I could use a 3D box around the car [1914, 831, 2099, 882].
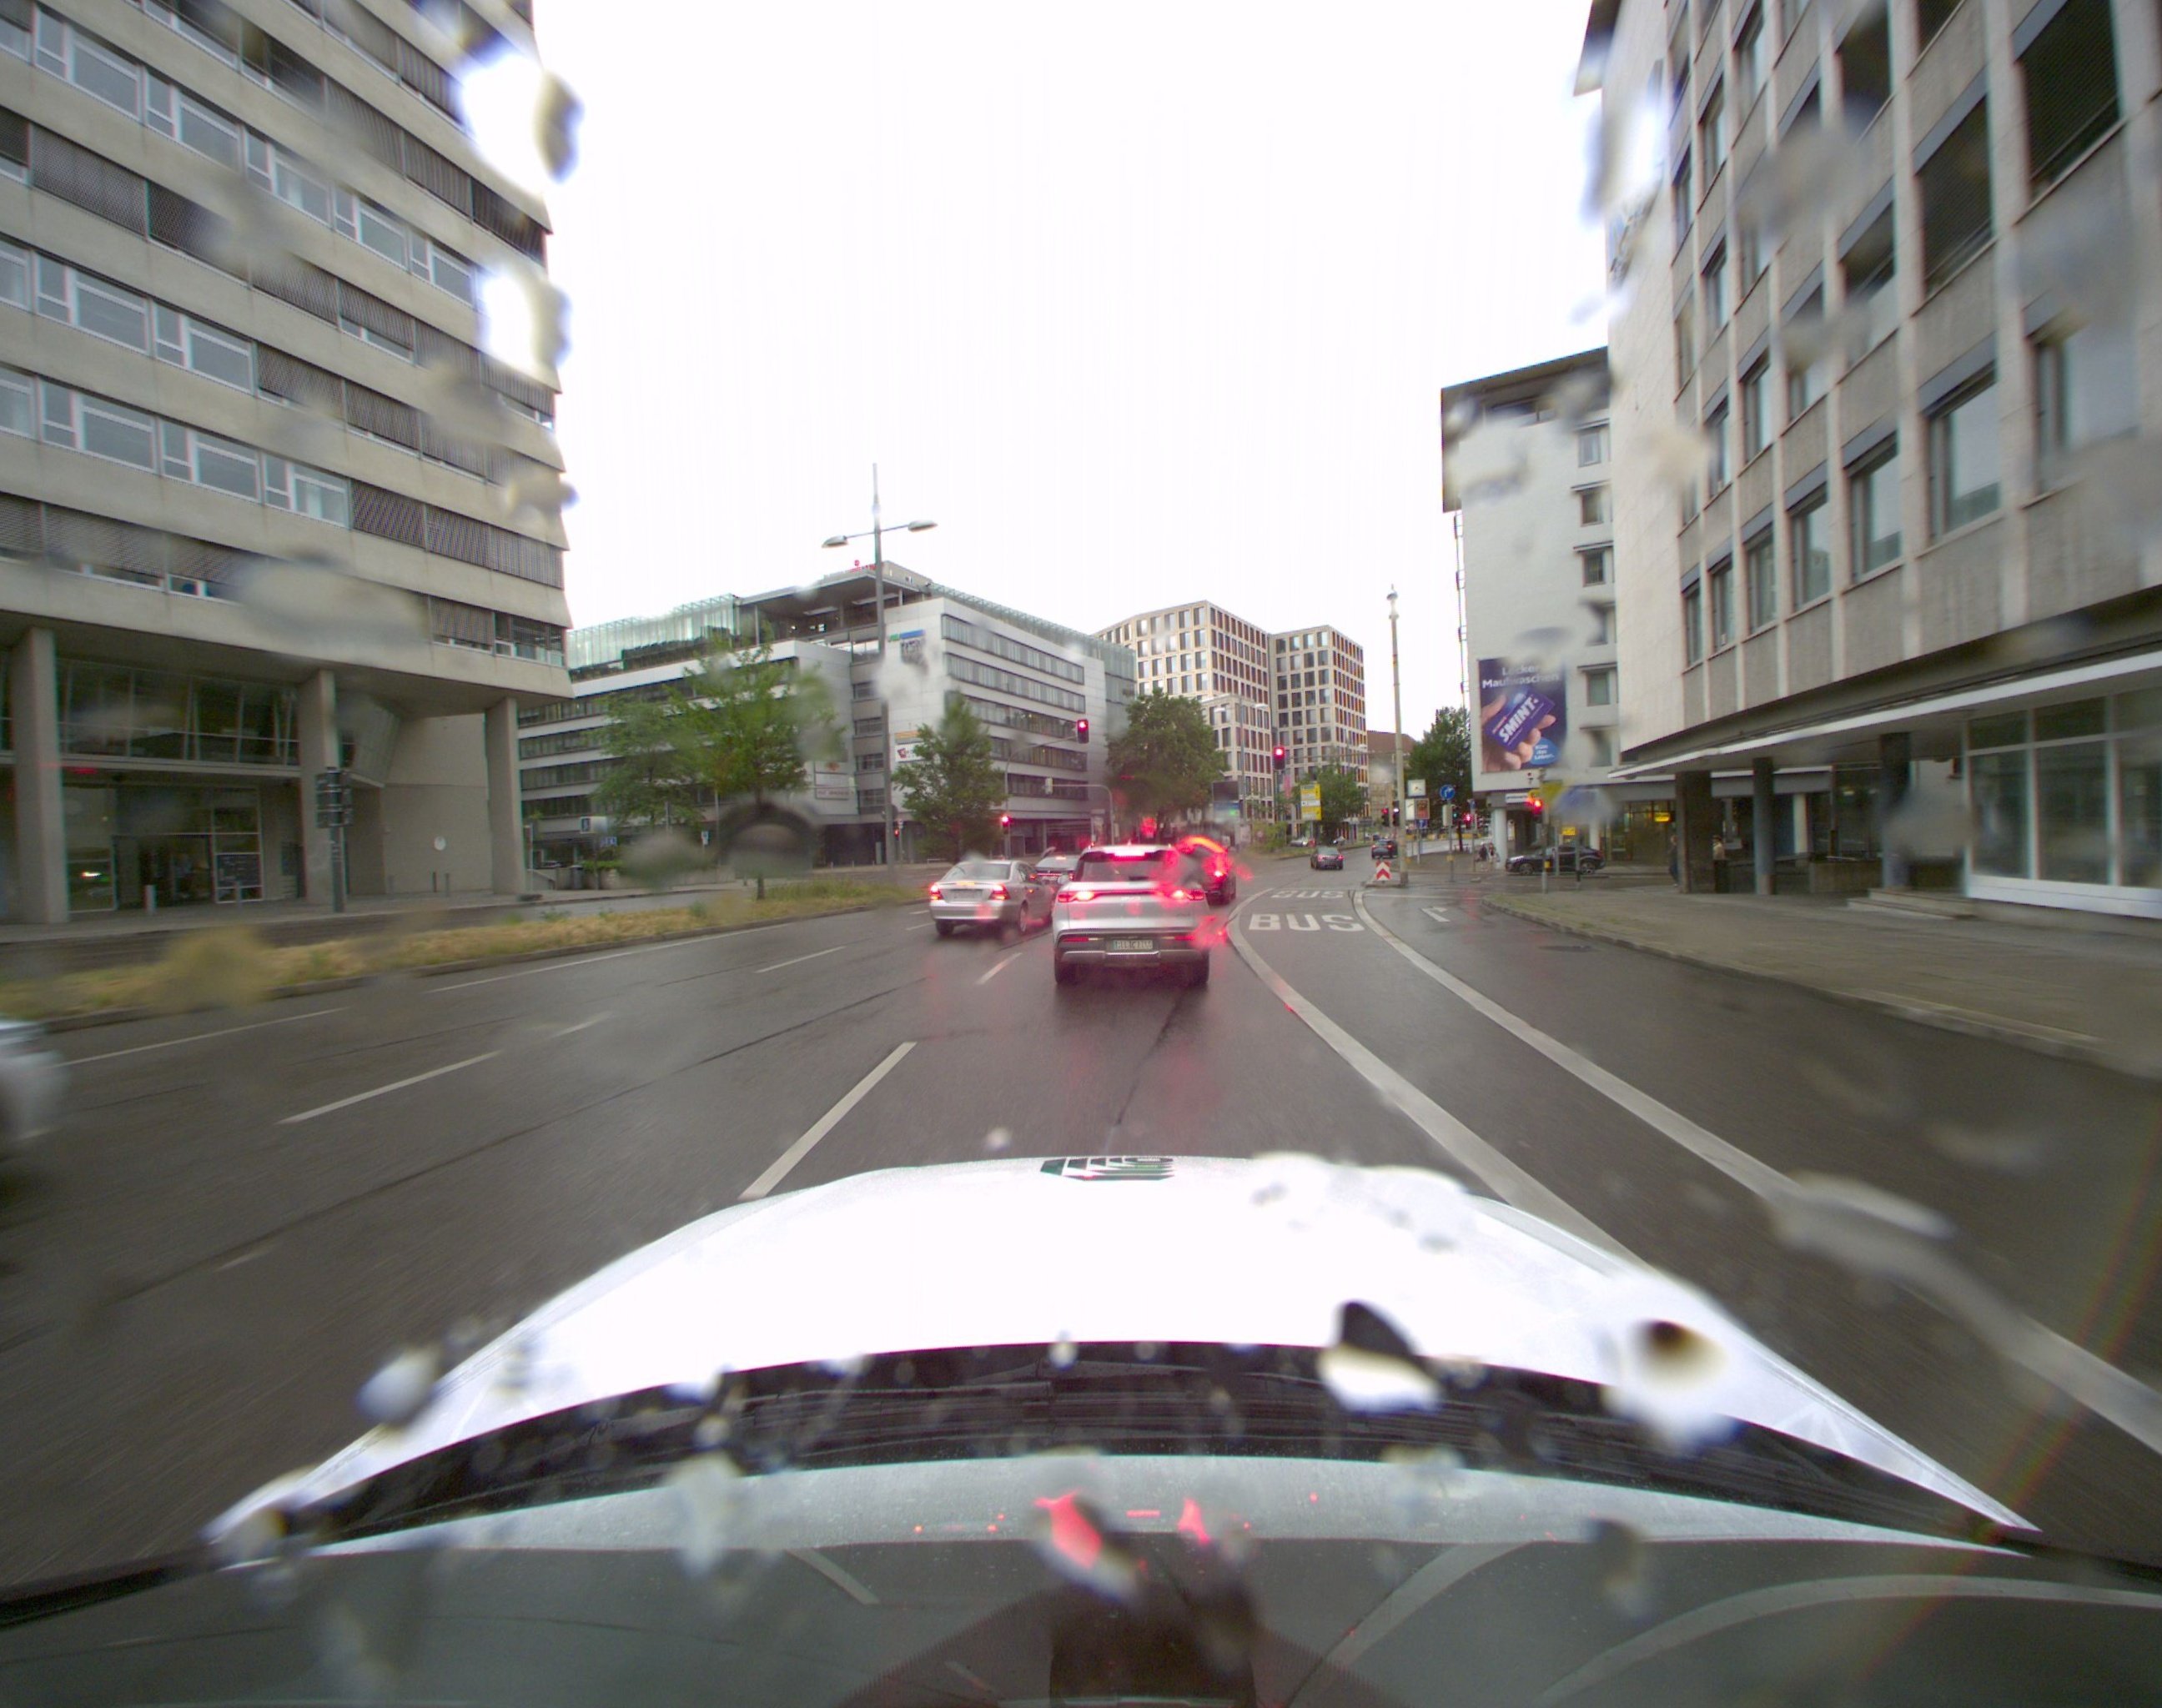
[{"bbox_3d":[34.276,0.073,30.264,4.498,1.750,2.001,-1,0,2],"label":"car"}]

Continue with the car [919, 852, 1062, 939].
[{"bbox_3d":[-1.684,0.754,16.690,1.671,1.486,4.210,-1,0,11],"label":"car"}]

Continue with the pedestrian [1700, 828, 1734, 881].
[{"bbox_3d":[22.115,0.020,28.328,0.721,1.798,0.743,-1,0,21],"label":"pedestrian"}]

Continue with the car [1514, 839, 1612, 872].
[{"bbox_3d":[23.649,0.071,40.125,3.951,1.552,2.011,0,1,24],"label":"car"}]

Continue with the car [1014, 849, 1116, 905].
[{"bbox_3d":[-0.392,0.657,24.928,1.940,1.530,4.018,-1,0,17],"label":"car"}]

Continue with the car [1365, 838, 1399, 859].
[{"bbox_3d":[25.896,-0.490,70.054,2.027,1.765,4.384,0,1,30],"label":"car"}]

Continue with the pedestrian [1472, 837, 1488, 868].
[{"bbox_3d":[22.054,-0.061,44.999,0.721,1.668,0.694,-1,-1,21],"label":"pedestrian"}]

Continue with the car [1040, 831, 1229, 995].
[{"bbox_3d":[0.662,0.622,10.977,1.986,1.709,4.485,-2,0,2],"label":"car"}]

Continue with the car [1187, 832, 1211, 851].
[{"bbox_3d":[14.419,-1.508,99.084,1.722,2.161,4.519,0,0,24],"label":"car"}]

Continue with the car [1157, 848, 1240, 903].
[{"bbox_3d":[3.699,0.603,25.064,1.940,1.530,4.018,-1,0,17],"label":"car"}]

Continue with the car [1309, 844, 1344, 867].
[{"bbox_3d":[16.494,0.071,54.871,1.897,1.510,4.371,0,1,12],"label":"car"}]

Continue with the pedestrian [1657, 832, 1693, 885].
[{"bbox_3d":[20.662,0.154,28.333,0.806,1.798,0.714,-1,0,21],"label":"pedestrian"}]

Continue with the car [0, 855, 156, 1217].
[{"bbox_3d":[-5.702,0.834,2.014,1.776,1.573,4.290,-2,0,2],"label":"car"}]

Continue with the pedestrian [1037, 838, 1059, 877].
[{"bbox_3d":[-1.491,0.150,37.410,0.919,1.738,0.730,-2,0,0],"label":"pedestrian"}]

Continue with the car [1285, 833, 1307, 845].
[{"bbox_3d":[33.468,-2.376,126.656,1.974,1.705,4.337,0,2,33],"label":"car"}]

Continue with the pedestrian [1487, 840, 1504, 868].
[{"bbox_3d":[22.728,0.010,44.630,0.721,1.524,0.764,-1,-1,21],"label":"pedestrian"}]

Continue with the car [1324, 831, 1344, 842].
[{"bbox_3d":[41.689,-2.874,134.173,1.974,1.705,4.026,0,2,33],"label":"car"}]
